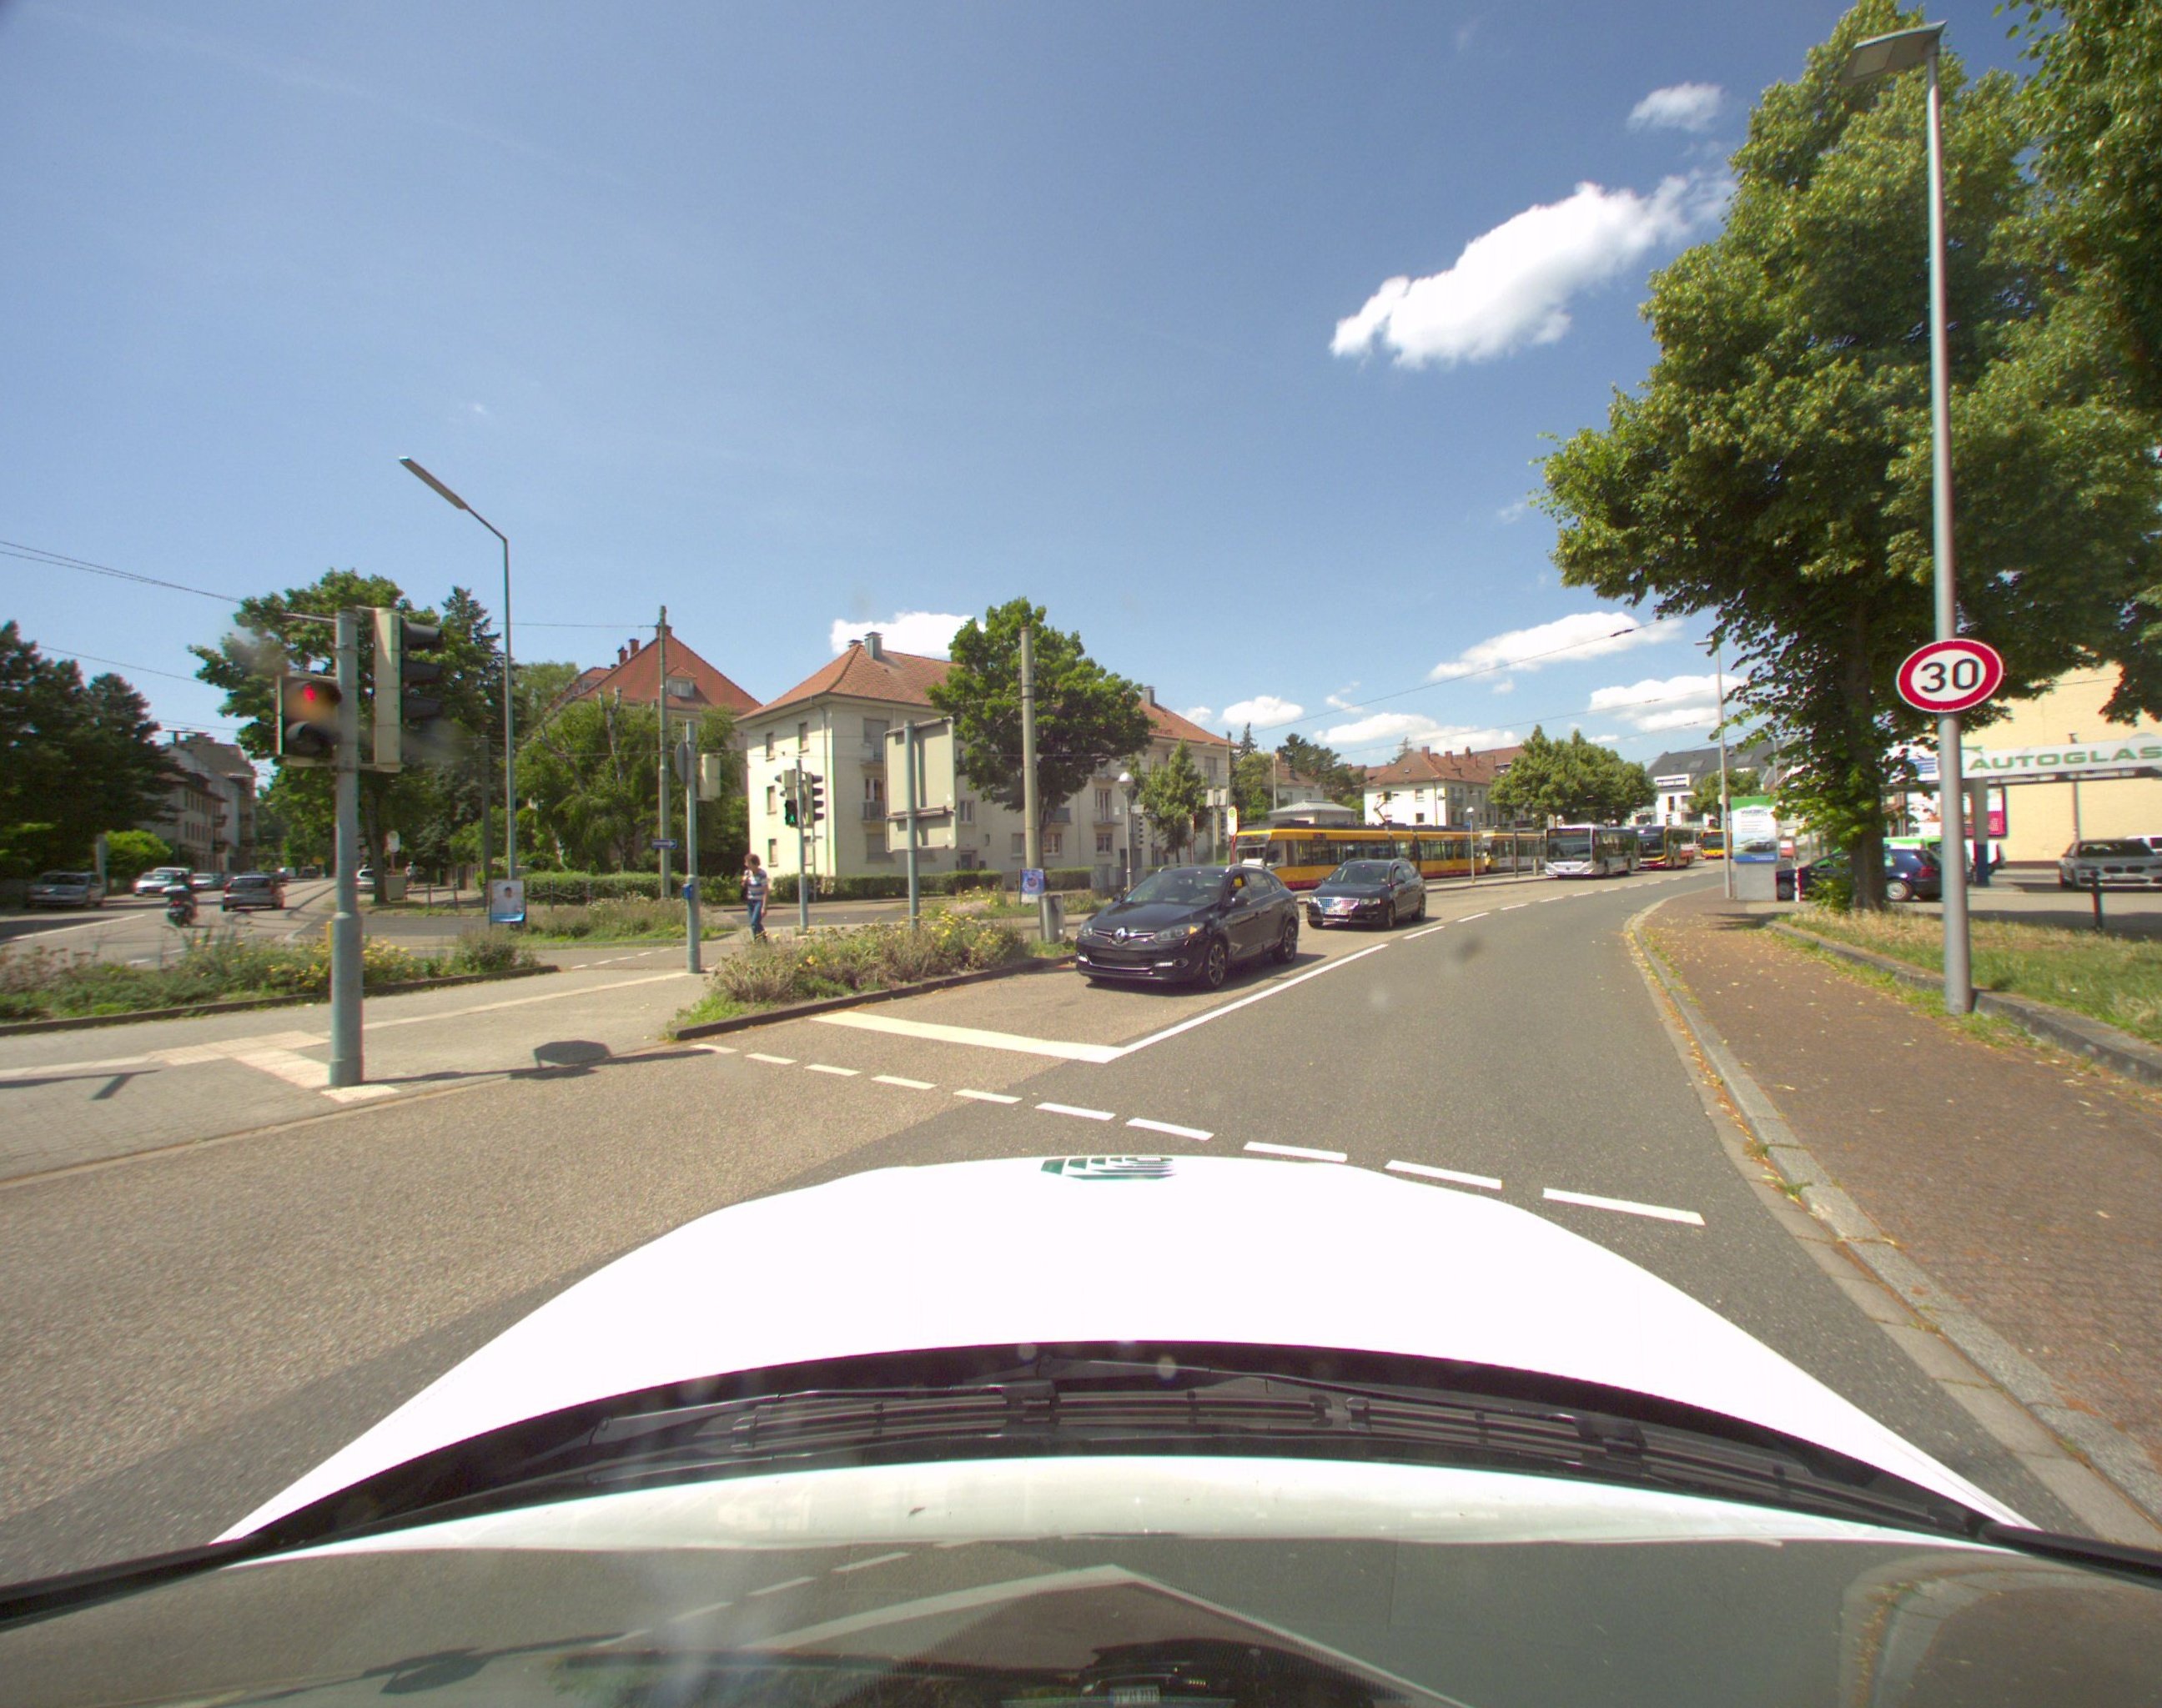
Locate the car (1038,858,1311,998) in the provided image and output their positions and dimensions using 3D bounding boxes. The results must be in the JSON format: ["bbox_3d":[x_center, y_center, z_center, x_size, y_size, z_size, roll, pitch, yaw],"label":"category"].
[{"bbox_3d":[1.521,0.837,11.298,1.974,1.500,4.454,-1,-1,33],"label":"car"}]

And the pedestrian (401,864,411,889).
[{"bbox_3d":[-45.875,1.516,55.334,0.513,1.656,0.460,0,-1,-37],"label":"pedestrian"}]

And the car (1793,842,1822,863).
[{"bbox_3d":[70.697,-0.153,79.223,4.023,1.981,1.791,-1,-1,-44],"label":"car"}]

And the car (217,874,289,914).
[{"bbox_3d":[-35.659,1.671,35.157,1.814,1.558,3.989,0,-1,-40],"label":"car"}]

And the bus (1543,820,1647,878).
[{"bbox_3d":[31.057,-0.298,48.876,2.705,3.129,12.078,-2,-1,45],"label":"bus"}]

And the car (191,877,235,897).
[{"bbox_3d":[-73.515,2.780,69.027,1.812,1.558,3.992,3,-3,-37],"label":"car"}]

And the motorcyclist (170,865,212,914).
[{"bbox_3d":[-26.817,1.051,24.556,0.717,1.445,1.007,0,-1,-39],"label":"motorcyclist"}]

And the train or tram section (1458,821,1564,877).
[{"bbox_3d":[33.976,-0.410,63.817,15.642,3.895,2.759,-1,-1,-45],"label":"train or tram section"}]

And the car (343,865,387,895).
[{"bbox_3d":[-45.547,1.644,51.762,2.011,1.807,3.951,0,-1,-43],"label":"car"}]

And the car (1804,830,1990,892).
[{"bbox_3d":[26.237,0.256,26.409,1.832,1.794,4.020,-1,-1,-4],"label":"car"}]

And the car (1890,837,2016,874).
[{"bbox_3d":[45.524,0.060,42.613,2.009,1.809,4.271,-3,1,-36],"label":"car"}]

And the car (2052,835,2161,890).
[{"bbox_3d":[32.496,0.238,25.615,1.989,1.596,4.314,-2,-1,43],"label":"car"}]

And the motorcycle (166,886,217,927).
[{"bbox_3d":[-26.903,1.565,24.665,0.717,1.134,2.172,0,-1,-39],"label":"motorcycle"}]

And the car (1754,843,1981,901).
[{"bbox_3d":[21.907,0.503,22.908,1.903,1.439,4.141,-1,-1,-22],"label":"car"}]

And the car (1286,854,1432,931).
[{"bbox_3d":[6.527,0.795,18.783,1.974,1.519,4.540,-1,-1,35],"label":"car"}]

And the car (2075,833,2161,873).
[{"bbox_3d":[51.487,-0.065,39.238,4.263,1.809,2.013,-1,2,41],"label":"car"}]

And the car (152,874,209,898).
[{"bbox_3d":[-61.918,2.181,56.067,1.812,1.558,3.992,3,-3,-37],"label":"car"}]

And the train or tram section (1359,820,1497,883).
[{"bbox_3d":[22.656,-0.177,52.316,14.791,3.568,2.759,-1,-1,-45],"label":"train or tram section"}]

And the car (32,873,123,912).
[{"bbox_3d":[-47.094,1.784,38.318,1.813,1.718,3.991,3,-3,-39],"label":"car"}]

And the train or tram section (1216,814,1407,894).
[{"bbox_3d":[12.384,-0.038,42.071,14.263,3.568,2.783,-1,-1,-45],"label":"train or tram section"}]

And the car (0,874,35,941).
[{"bbox_3d":[-25.947,1.301,18.210,1.866,1.557,4.240,-3,1,-34],"label":"car"}]

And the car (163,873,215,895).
[{"bbox_3d":[-66.089,2.200,60.383,1.812,1.558,3.992,3,-3,-37],"label":"car"}]

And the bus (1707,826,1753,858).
[{"bbox_3d":[70.324,-1.305,88.145,2.705,3.219,11.113,-2,-1,45],"label":"bus"}]

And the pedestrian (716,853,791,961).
[{"bbox_3d":[-5.395,0.838,13.424,0.752,1.705,0.843,-1,-1,33],"label":"pedestrian"}]

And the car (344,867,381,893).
[{"bbox_3d":[-54.444,1.914,61.669,2.011,1.906,3.951,0,-1,-43],"label":"car"}]

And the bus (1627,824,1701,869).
[{"bbox_3d":[44.933,-0.586,62.572,2.705,3.129,12.078,-2,-1,45],"label":"bus"}]
